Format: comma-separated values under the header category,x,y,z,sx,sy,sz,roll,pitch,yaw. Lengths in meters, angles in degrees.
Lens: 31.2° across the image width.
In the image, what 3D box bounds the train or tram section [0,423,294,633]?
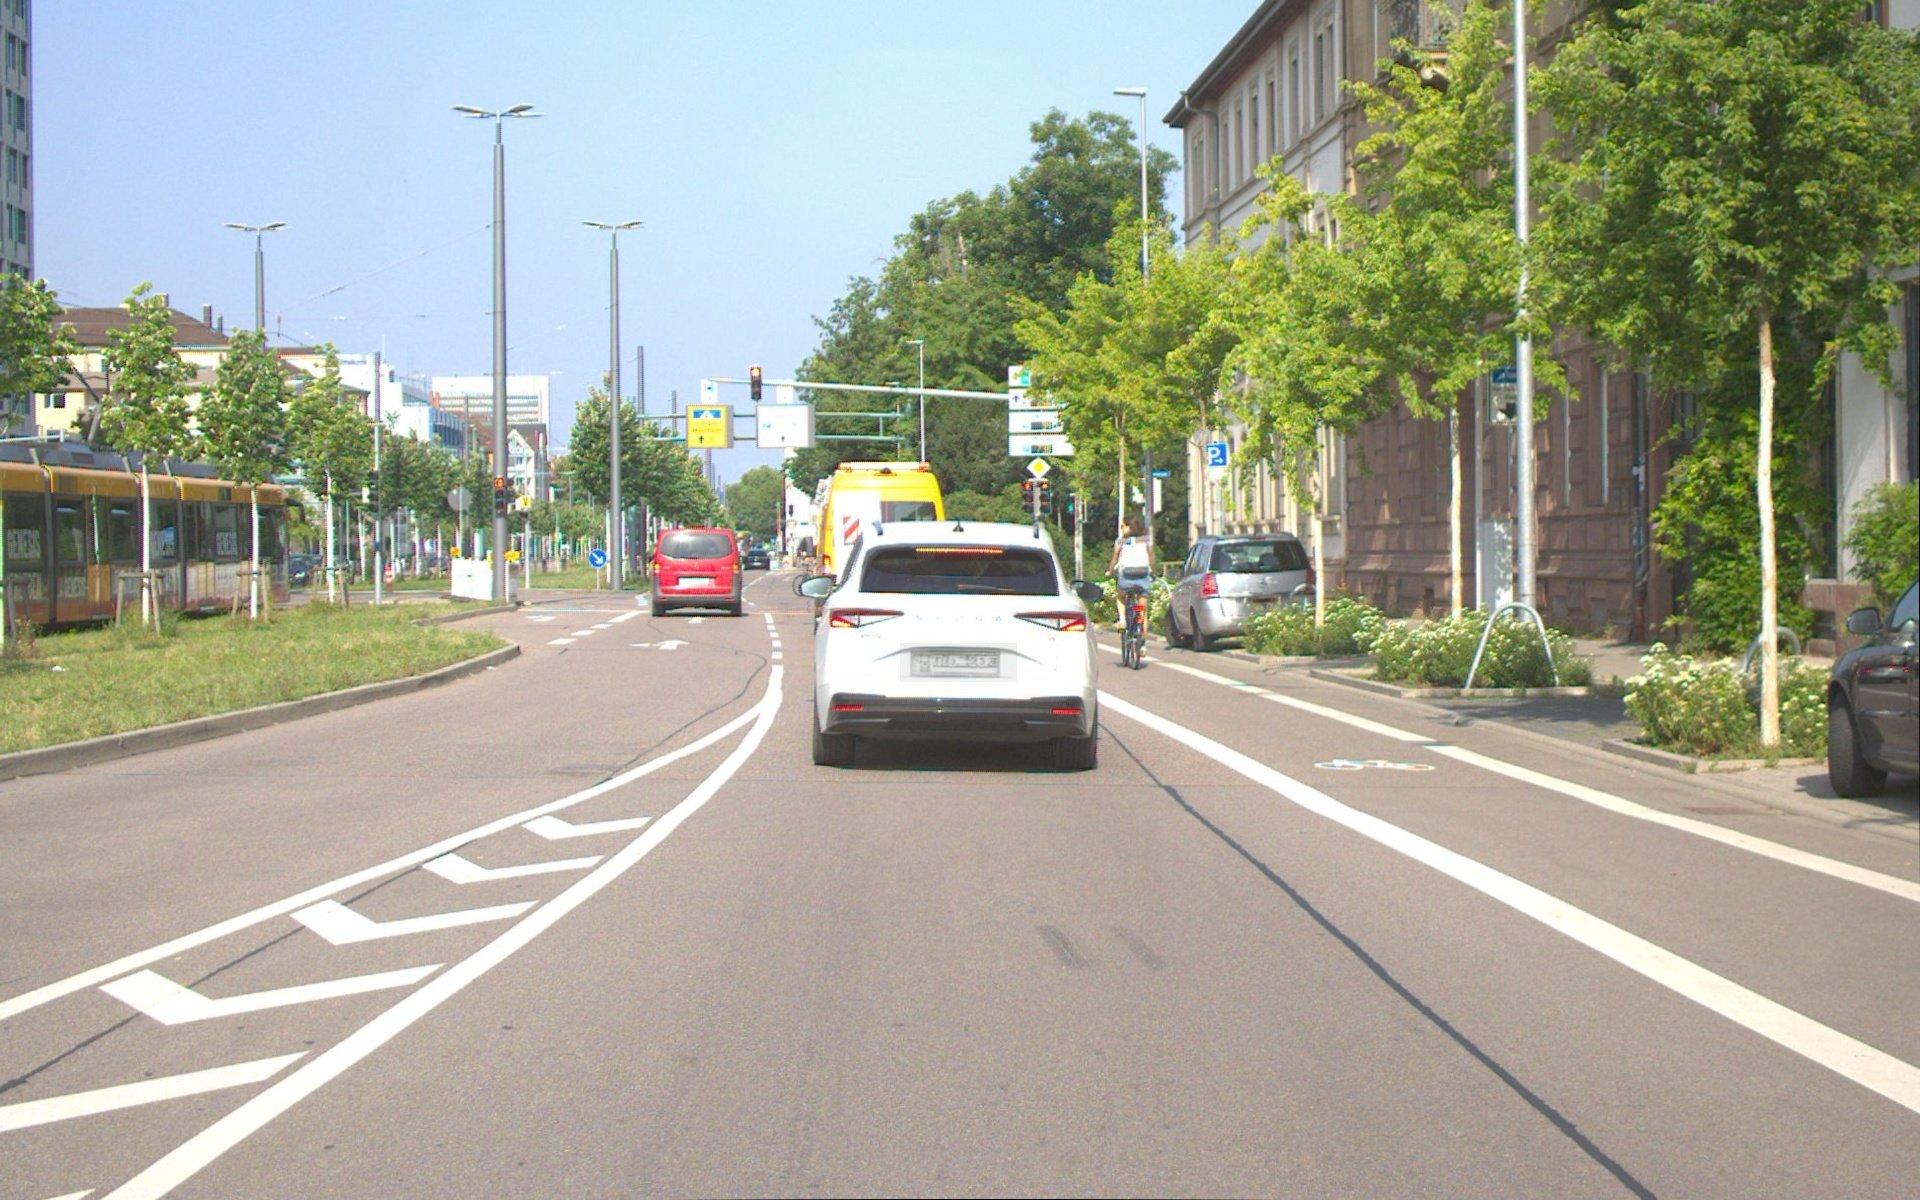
category,x,y,z,sx,sy,sz,roll,pitch,yaw
train or tram section,-16.935,-1.439,70.186,2.906,3.694,18.290,1,1,0

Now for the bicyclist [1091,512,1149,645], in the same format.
category,x,y,z,sx,sy,sz,roll,pitch,yaw
bicyclist,1.898,-0.262,40.846,0.639,1.571,0.771,0,1,0

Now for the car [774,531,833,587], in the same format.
category,x,y,z,sx,sy,sz,roll,pitch,yaw
car,-5.249,-1.396,115.706,1.930,1.815,4.001,0,1,-2

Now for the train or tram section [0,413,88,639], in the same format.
category,x,y,z,sx,sy,sz,roll,pitch,yaw
train or tram section,-17.047,-1.166,51.963,2.906,3.663,18.137,1,1,0

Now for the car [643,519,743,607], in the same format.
category,x,y,z,sx,sy,sz,roll,pitch,yaw
car,-5.659,-0.811,73.251,1.930,1.815,4.001,0,1,-2

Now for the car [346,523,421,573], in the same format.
category,x,y,z,sx,sy,sz,roll,pitch,yaw
car,-18.977,-1.725,113.216,1.816,1.616,4.000,0,1,0

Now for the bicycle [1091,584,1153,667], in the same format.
category,x,y,z,sx,sy,sz,roll,pitch,yaw
bicycle,1.907,0.294,40.662,0.655,0.935,1.517,0,1,0

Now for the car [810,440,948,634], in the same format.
category,x,y,z,sx,sy,sz,roll,pitch,yaw
car,-1.301,-1.055,53.507,2.020,2.786,5.402,0,3,-2

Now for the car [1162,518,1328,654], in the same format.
category,x,y,z,sx,sy,sz,roll,pitch,yaw
car,3.950,-0.232,48.218,1.812,1.806,3.836,0,2,-3

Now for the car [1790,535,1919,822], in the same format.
category,x,y,z,sx,sy,sz,roll,pitch,yaw
car,5.831,0.393,18.029,1.673,1.478,4.313,-2,1,-3

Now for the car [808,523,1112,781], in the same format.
category,x,y,z,sx,sy,sz,roll,pitch,yaw
car,-0.079,0.276,23.236,1.869,1.569,4.001,0,1,-2
